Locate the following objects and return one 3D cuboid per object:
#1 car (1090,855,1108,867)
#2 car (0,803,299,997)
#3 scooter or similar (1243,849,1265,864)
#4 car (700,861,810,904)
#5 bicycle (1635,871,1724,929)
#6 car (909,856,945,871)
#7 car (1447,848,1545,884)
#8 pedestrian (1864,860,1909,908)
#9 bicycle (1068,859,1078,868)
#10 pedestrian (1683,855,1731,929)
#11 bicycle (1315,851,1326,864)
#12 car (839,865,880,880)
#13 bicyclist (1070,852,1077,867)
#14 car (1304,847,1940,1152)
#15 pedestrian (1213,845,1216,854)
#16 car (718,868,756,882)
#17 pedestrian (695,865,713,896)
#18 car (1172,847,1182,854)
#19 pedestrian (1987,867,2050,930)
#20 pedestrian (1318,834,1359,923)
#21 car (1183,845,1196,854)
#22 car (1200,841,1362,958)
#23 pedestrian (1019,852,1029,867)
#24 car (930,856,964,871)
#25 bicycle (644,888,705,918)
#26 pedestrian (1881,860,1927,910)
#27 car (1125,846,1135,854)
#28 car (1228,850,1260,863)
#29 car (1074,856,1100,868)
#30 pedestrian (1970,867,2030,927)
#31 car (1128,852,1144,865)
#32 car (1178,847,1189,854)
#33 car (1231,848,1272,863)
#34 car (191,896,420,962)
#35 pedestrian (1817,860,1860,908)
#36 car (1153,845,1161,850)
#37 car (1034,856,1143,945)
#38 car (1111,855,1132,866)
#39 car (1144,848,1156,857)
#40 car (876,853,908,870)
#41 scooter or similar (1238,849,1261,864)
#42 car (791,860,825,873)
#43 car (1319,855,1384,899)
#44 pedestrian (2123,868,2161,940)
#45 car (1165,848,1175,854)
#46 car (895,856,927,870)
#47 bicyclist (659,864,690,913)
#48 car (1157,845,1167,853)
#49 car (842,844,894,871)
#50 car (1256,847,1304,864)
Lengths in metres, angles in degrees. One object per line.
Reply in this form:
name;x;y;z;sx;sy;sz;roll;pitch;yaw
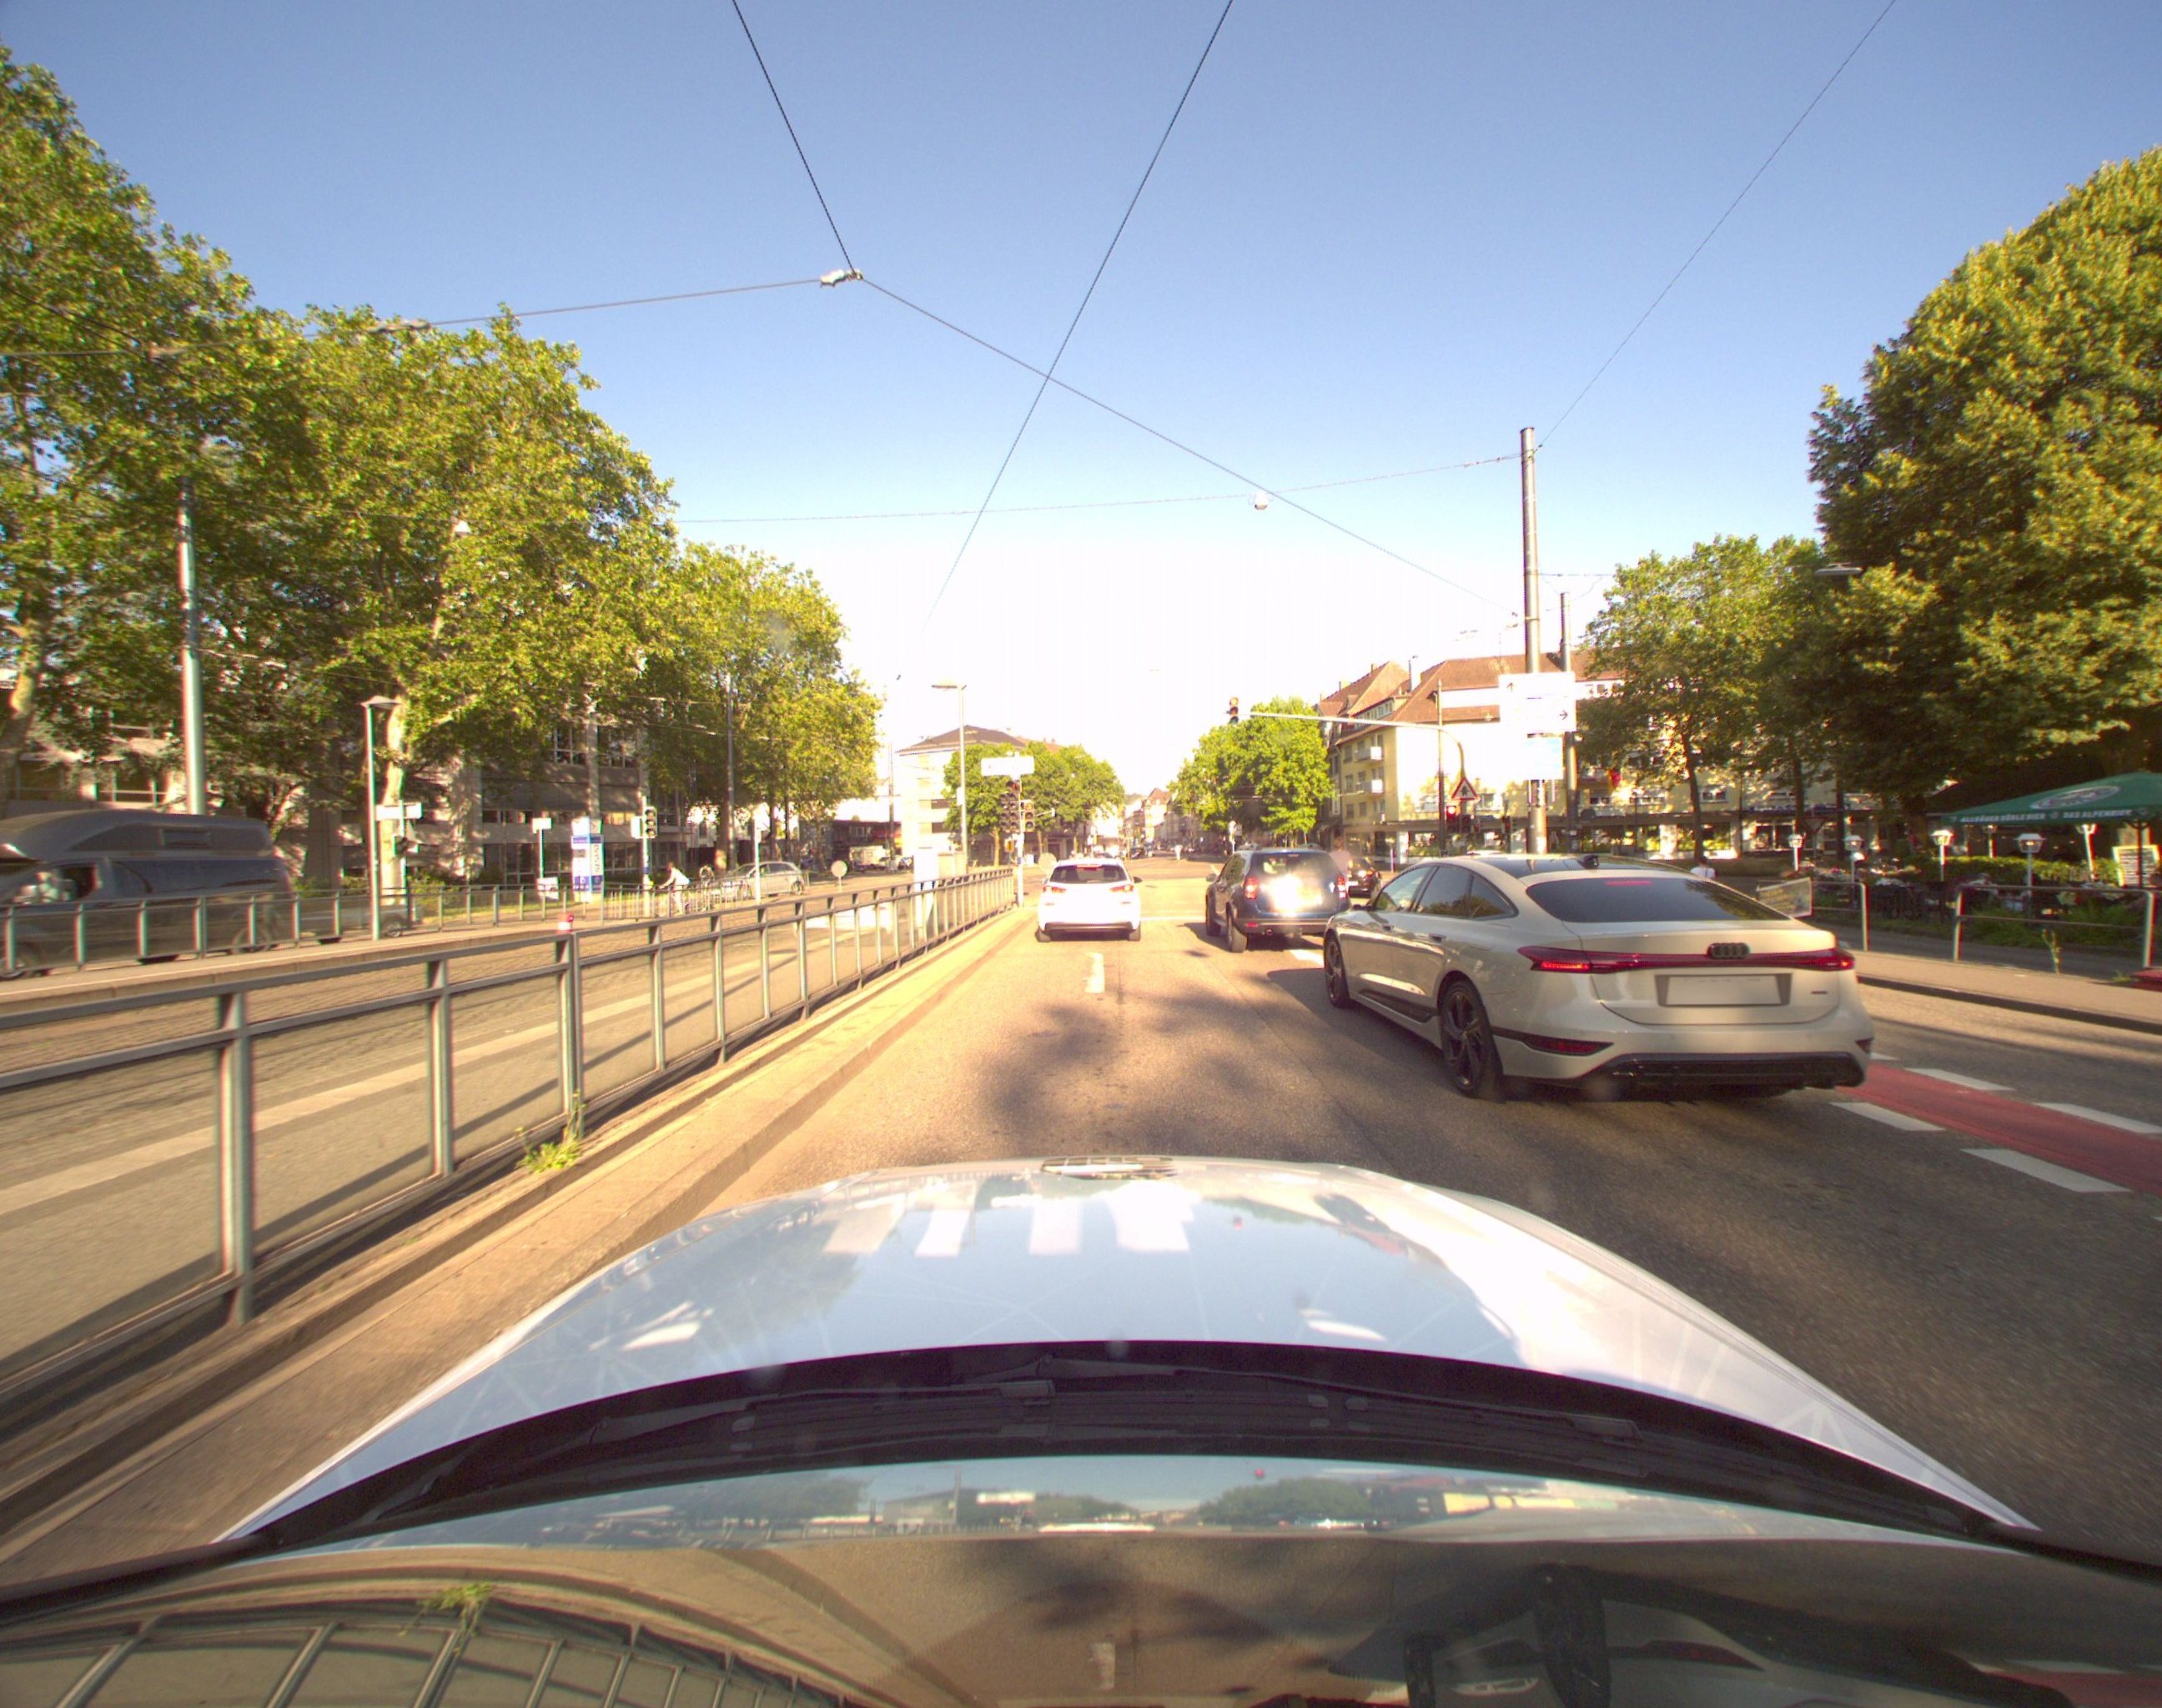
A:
car;2.380;0.987;108.277;1.784;1.510;4.010;-2;-1;9
car;-16.276;0.689;13.336;2.061;2.743;5.029;-1;-1;0
scooter or similar;15.230;0.229;71.718;1.926;1.280;0.557;-1;0;43
car;-13.841;1.162;34.823;1.798;1.692;4.186;-1;0;28
bicycle;12.027;0.895;16.433;0.496;1.075;1.801;0;-1;2
car;-17.873;1.121;94.620;1.777;1.649;4.035;-1;0;31
car;19.213;0.508;37.732;4.000;1.510;1.788;-1;1;-20
pedestrian;23.199;0.852;23.461;0.645;1.338;0.632;1;0;2
bicycle;-0.907;1.145;97.985;0.463;0.956;1.777;-1;0;25
pedestrian;13.644;0.805;17.759;0.642;1.563;0.635;1;0;20
bicycle;20.867;0.336;71.089;0.606;1.107;1.803;-1;0;6
car;-23.691;1.927;87.055;3.952;1.510;1.810;-1;0;22
bicyclist;-0.917;0.641;97.990;0.463;1.745;0.721;-2;0;25
car;3.324;0.716;6.442;1.922;1.472;4.857;-1;0;2
pedestrian;24.740;-0.875;150.887;0.643;1.651;0.652;-1;-1;12
car;-40.440;2.456;95.789;3.952;1.510;1.810;-1;0;22
pedestrian;-18.745;1.314;40.506;0.533;1.552;0.677;-1;0;1
car;20.357;-0.701;172.325;1.787;1.510;4.001;-1;0;2
pedestrian;20.674;0.979;17.962;0.645;1.338;0.632;1;0;2
pedestrian;5.576;0.521;17.682;0.654;1.871;0.678;-1;0;1
car;21.206;-0.844;159.606;2.097;1.776;4.343;-1;0;2
car;3.145;0.641;13.624;1.794;1.638;4.046;-1;0;1
pedestrian;-6.685;0.612;95.547;0.828;1.771;0.787;-2;0;27
car;-15.452;1.052;93.853;1.904;1.649;4.203;-1;0;22
bicycle;-12.145;1.452;24.346;1.621;0.816;0.522;-1;0;-29
pedestrian;22.788;0.841;22.556;0.645;1.338;0.632;1;0;2
car;9.727;-0.837;161.169;1.788;1.510;4.000;-1;0;1
car;20.330;0.366;101.716;4.021;1.510;1.779;-1;0;-40
car;0.777;0.997;102.321;1.707;1.510;3.899;-2;-1;27
pedestrian;21.287;0.988;18.873;0.645;1.338;0.632;1;0;2
car;8.349;0.632;123.637;1.782;1.826;4.013;-1;0;12
car;20.827;-0.698;166.148;1.787;1.510;4.001;-1;0;2
car;18.351;0.133;87.605;3.979;1.510;1.797;-1;0;-4
car;-16.278;1.539;17.320;2.061;1.162;2.911;-1;-1;-1
pedestrian;21.900;0.861;23.545;0.645;1.338;0.632;1;0;2
car;20.676;-1.782;222.054;1.787;1.510;4.001;-1;0;2
car;0.169;0.784;15.549;1.801;1.452;4.001;-1;0;1
car;5.825;0.961;116.258;1.779;1.510;4.020;-2;-1;21
car;11.698;-0.228;138.188;1.788;1.510;4.000;-1;0;1
car;-22.626;0.915;97.657;1.779;1.955;4.021;-1;0;21
scooter or similar;14.748;0.224;71.180;1.926;1.280;0.557;-1;0;43
car;-34.699;1.555;103.780;1.778;1.510;4.023;-1;0;25
car;9.730;0.776;29.134;1.784;1.439;4.068;0;0;25
pedestrian;20.566;0.950;15.547;0.642;1.338;0.636;1;0;32
car;20.926;-0.718;191.563;1.787;1.522;4.001;-1;0;2
car;-20.162;1.068;96.695;1.779;1.510;4.031;-1;0;21
bicyclist;-12.154;1.028;24.349;0.805;1.414;0.522;-1;0;-28
car;21.452;-1.230;216.592;2.318;2.013;4.978;-1;0;2
car;-25.725;0.360;98.734;2.473;3.165;6.573;-1;0;25
car;18.865;0.115;77.282;3.983;1.510;1.796;-1;0;-7
